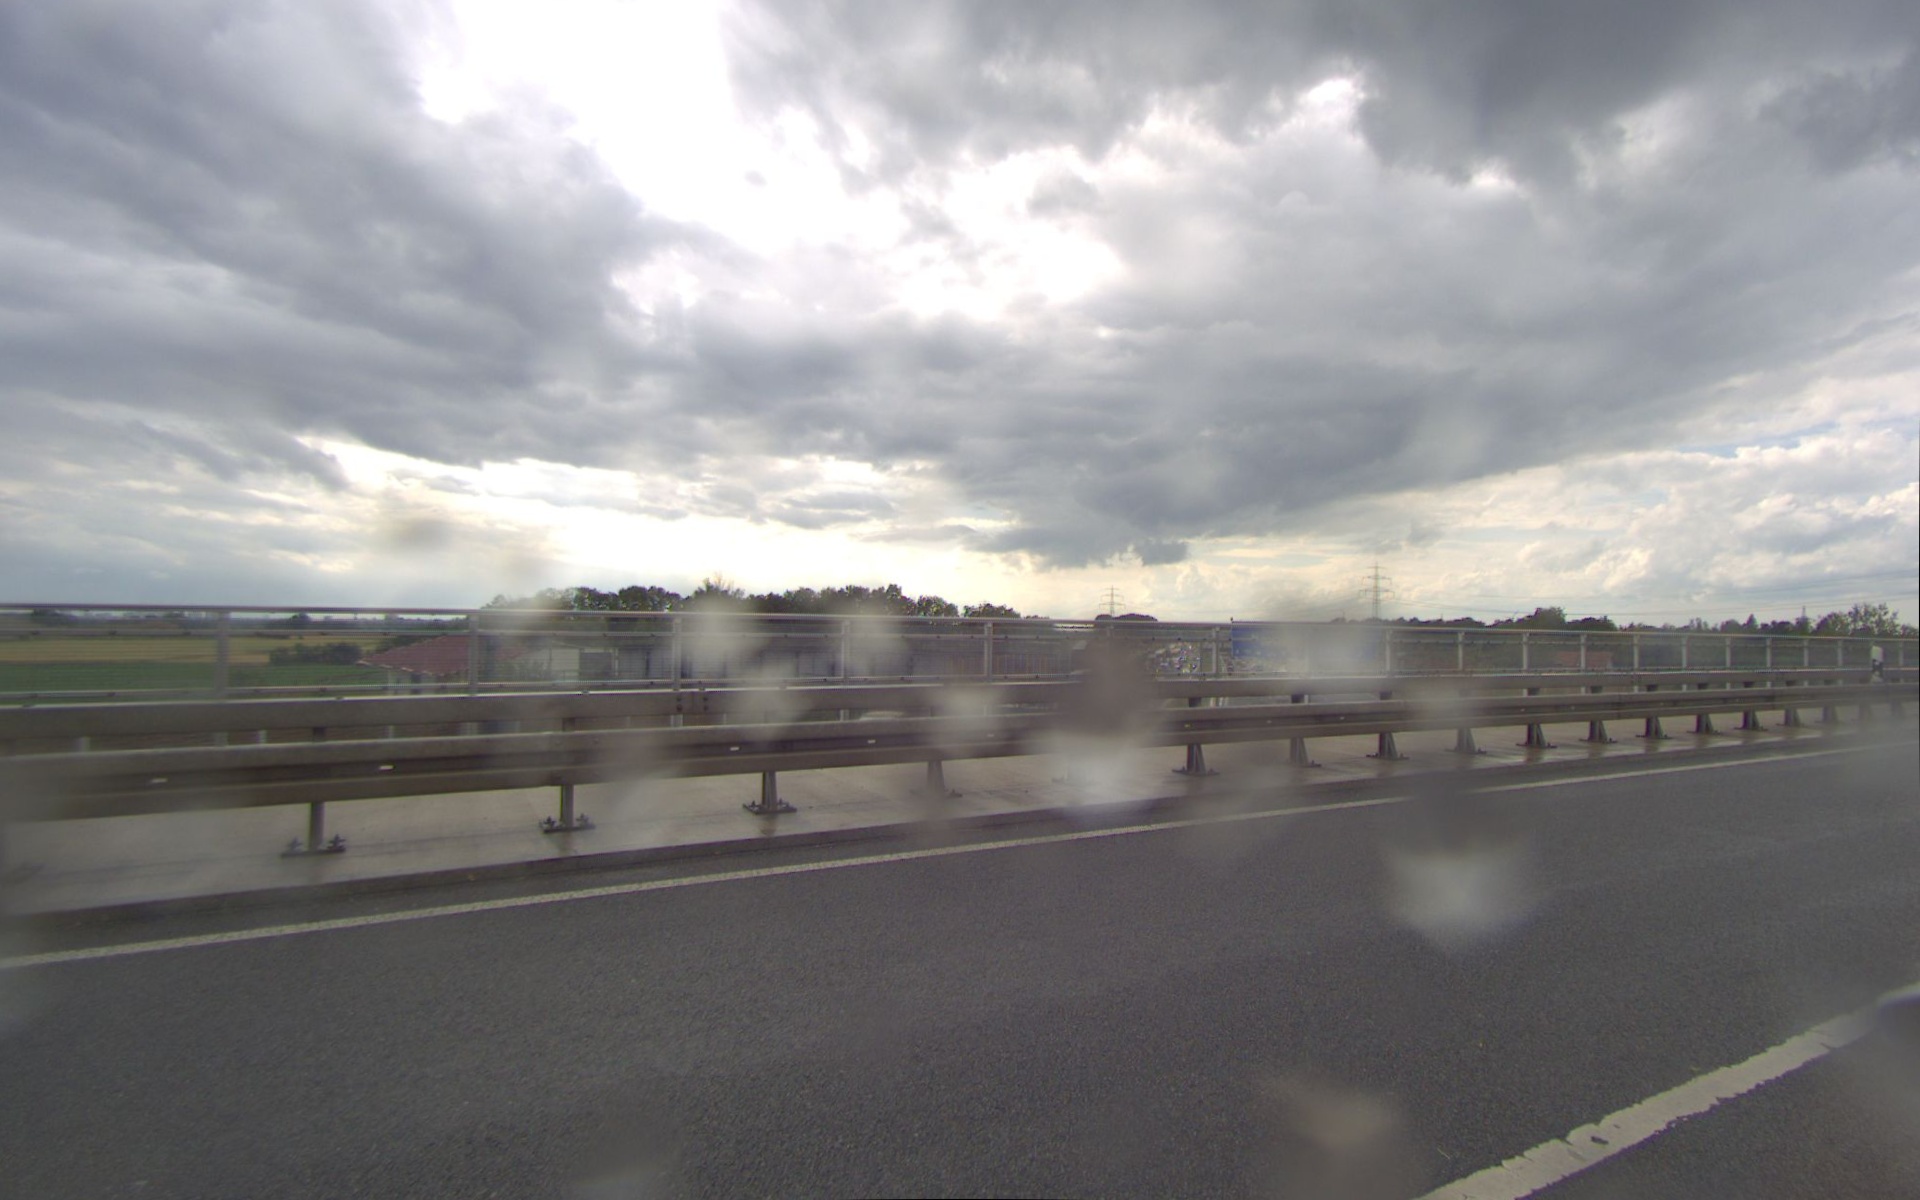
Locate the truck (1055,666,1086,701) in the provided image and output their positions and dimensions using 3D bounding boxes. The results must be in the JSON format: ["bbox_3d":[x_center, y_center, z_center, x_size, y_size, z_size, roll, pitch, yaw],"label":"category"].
[{"bbox_3d":[15.217,11.304,137.284,2.388,3.812,11.175,2,0,15],"label":"truck"}]

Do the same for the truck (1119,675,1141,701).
[{"bbox_3d":[30.428,15.670,179.570,2.388,3.812,11.174,2,0,16],"label":"truck"}]

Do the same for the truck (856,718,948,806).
[{"bbox_3d":[-3.640,10.550,66.939,2.388,4.055,11.174,2,0,16],"label":"truck"}]

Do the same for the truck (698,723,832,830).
[{"bbox_3d":[-10.553,9.544,56.053,2.388,4.055,11.174,2,0,16],"label":"truck"}]
